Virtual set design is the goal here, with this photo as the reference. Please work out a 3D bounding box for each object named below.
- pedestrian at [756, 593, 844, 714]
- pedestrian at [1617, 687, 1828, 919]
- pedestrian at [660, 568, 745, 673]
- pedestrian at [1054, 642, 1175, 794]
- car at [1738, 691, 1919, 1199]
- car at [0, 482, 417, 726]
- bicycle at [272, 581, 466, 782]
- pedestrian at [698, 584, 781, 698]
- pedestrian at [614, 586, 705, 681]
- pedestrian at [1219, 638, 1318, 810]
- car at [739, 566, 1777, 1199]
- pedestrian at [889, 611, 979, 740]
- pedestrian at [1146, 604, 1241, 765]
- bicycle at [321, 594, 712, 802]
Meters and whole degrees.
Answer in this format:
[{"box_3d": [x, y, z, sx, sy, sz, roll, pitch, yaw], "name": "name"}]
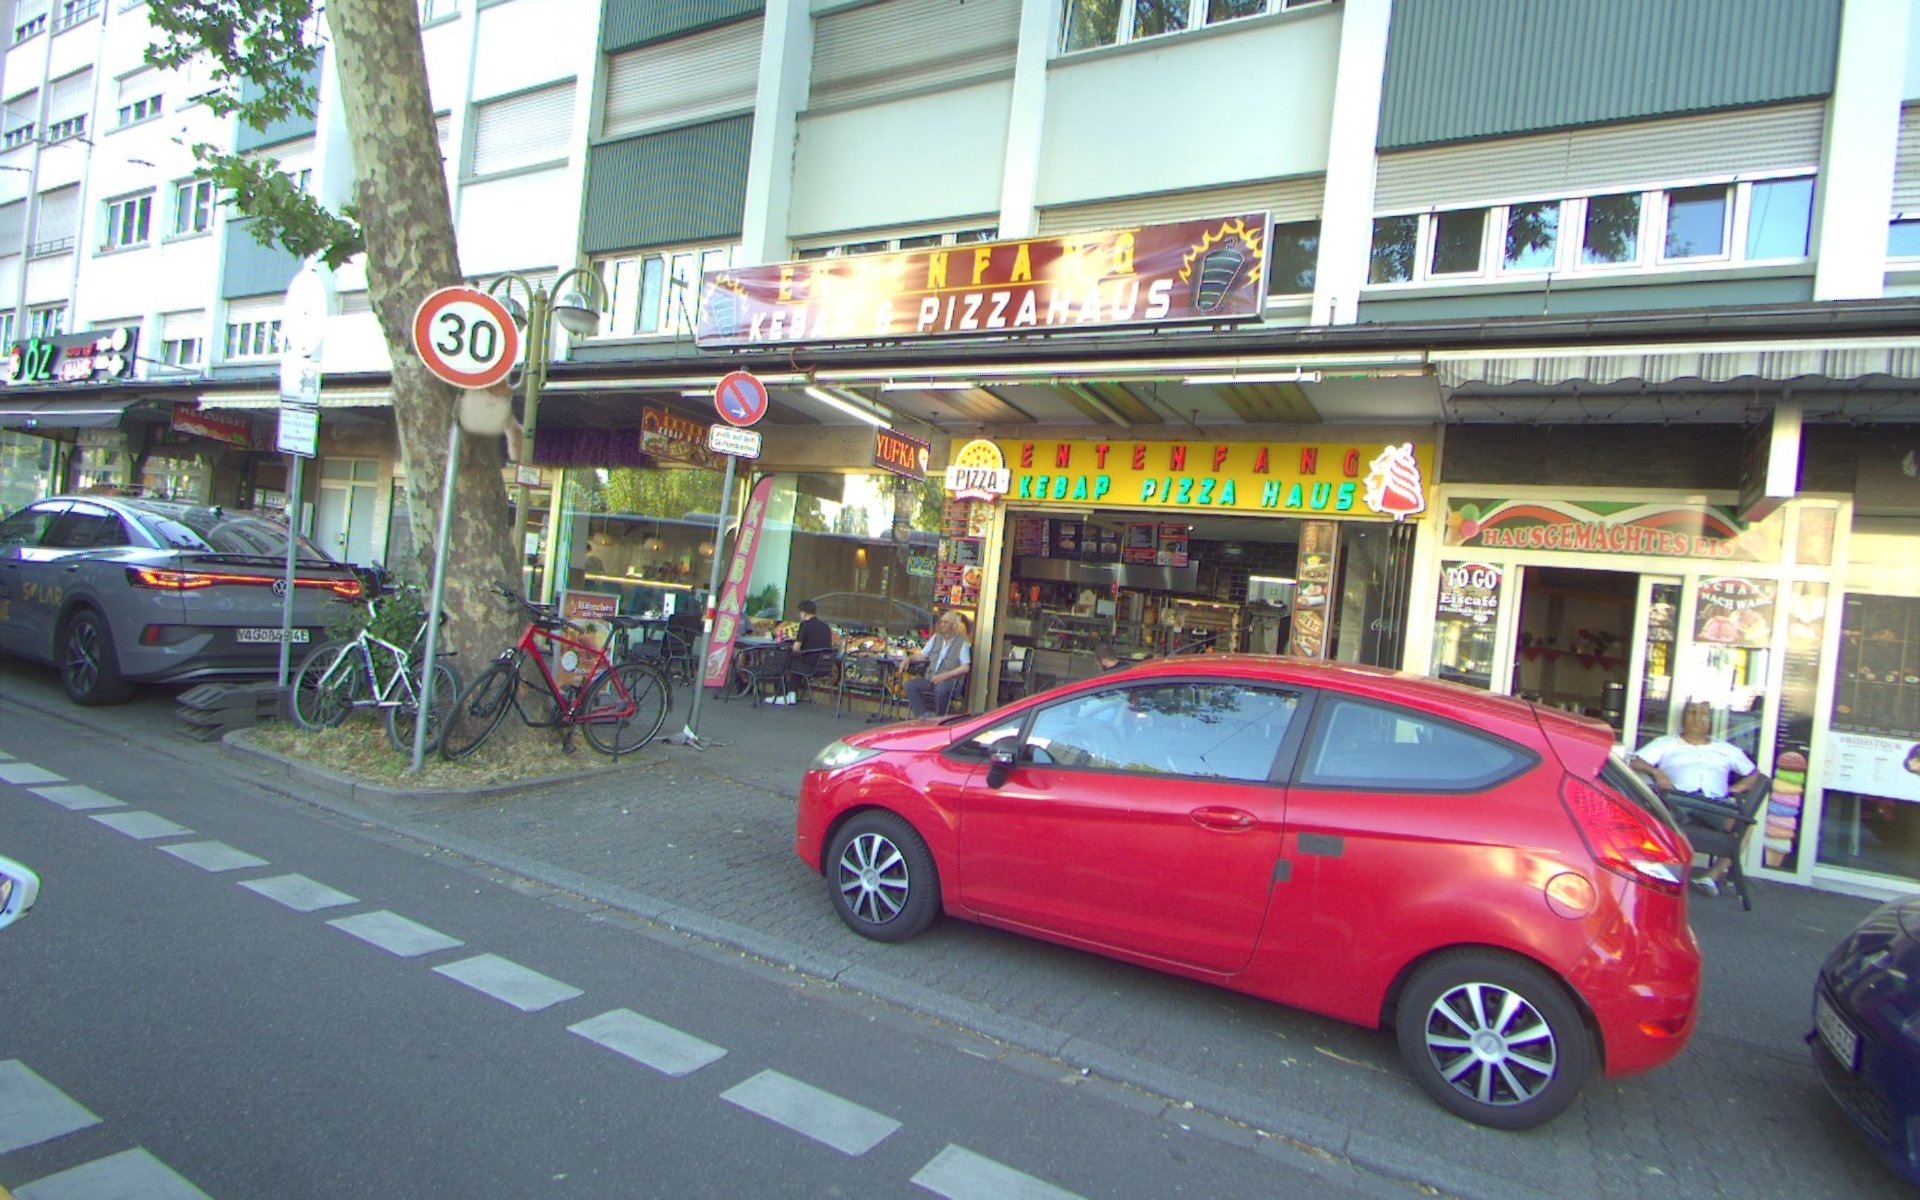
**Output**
[{"box_3d": [-1.808, 0.594, 11.391, 0.679, 1.261, 0.558, 7, 2, 33], "name": "pedestrian"}, {"box_3d": [5.315, 1.356, 7.111, 0.937, 1.352, 1.069, 6, 0, 30], "name": "pedestrian"}, {"box_3d": [-3.630, 0.287, 14.272, 0.958, 1.350, 0.830, 6, 0, -9], "name": "pedestrian"}, {"box_3d": [1.405, 1.035, 9.112, 0.798, 1.225, 0.654, 7, 2, 28], "name": "pedestrian"}, {"box_3d": [4.480, 1.272, 2.584, 3.549, 1.488, 1.767, 6, 3, 29], "name": "car"}, {"box_3d": [-7.212, -0.095, 8.996, 4.292, 1.603, 1.996, 7, 2, 27], "name": "car"}, {"box_3d": [-4.112, 0.527, 6.969, 1.421, 1.169, 0.553, 6, 0, 36], "name": "bicycle"}, {"box_3d": [-2.622, 0.487, 11.975, 0.680, 1.261, 0.557, 7, 2, 38], "name": "pedestrian"}, {"box_3d": [-3.854, 0.429, 12.969, 0.940, 1.094, 0.639, 6, 0, -9], "name": "pedestrian"}, {"box_3d": [3.027, 1.192, 9.843, 0.589, 1.560, 0.700, 7, 0, 34], "name": "pedestrian"}, {"box_3d": [1.077, 0.839, 4.651, 3.757, 1.617, 1.783, 6, 3, 28], "name": "car"}, {"box_3d": [-0.268, 0.774, 10.554, 0.550, 1.252, 0.689, 7, 2, 29], "name": "pedestrian"}, {"box_3d": [2.434, 0.869, 10.452, 0.589, 1.566, 0.700, 7, 0, 34], "name": "pedestrian"}, {"box_3d": [-2.890, 0.579, 6.829, 0.547, 1.171, 2.377, 7, 4, 44], "name": "bicycle"}]
